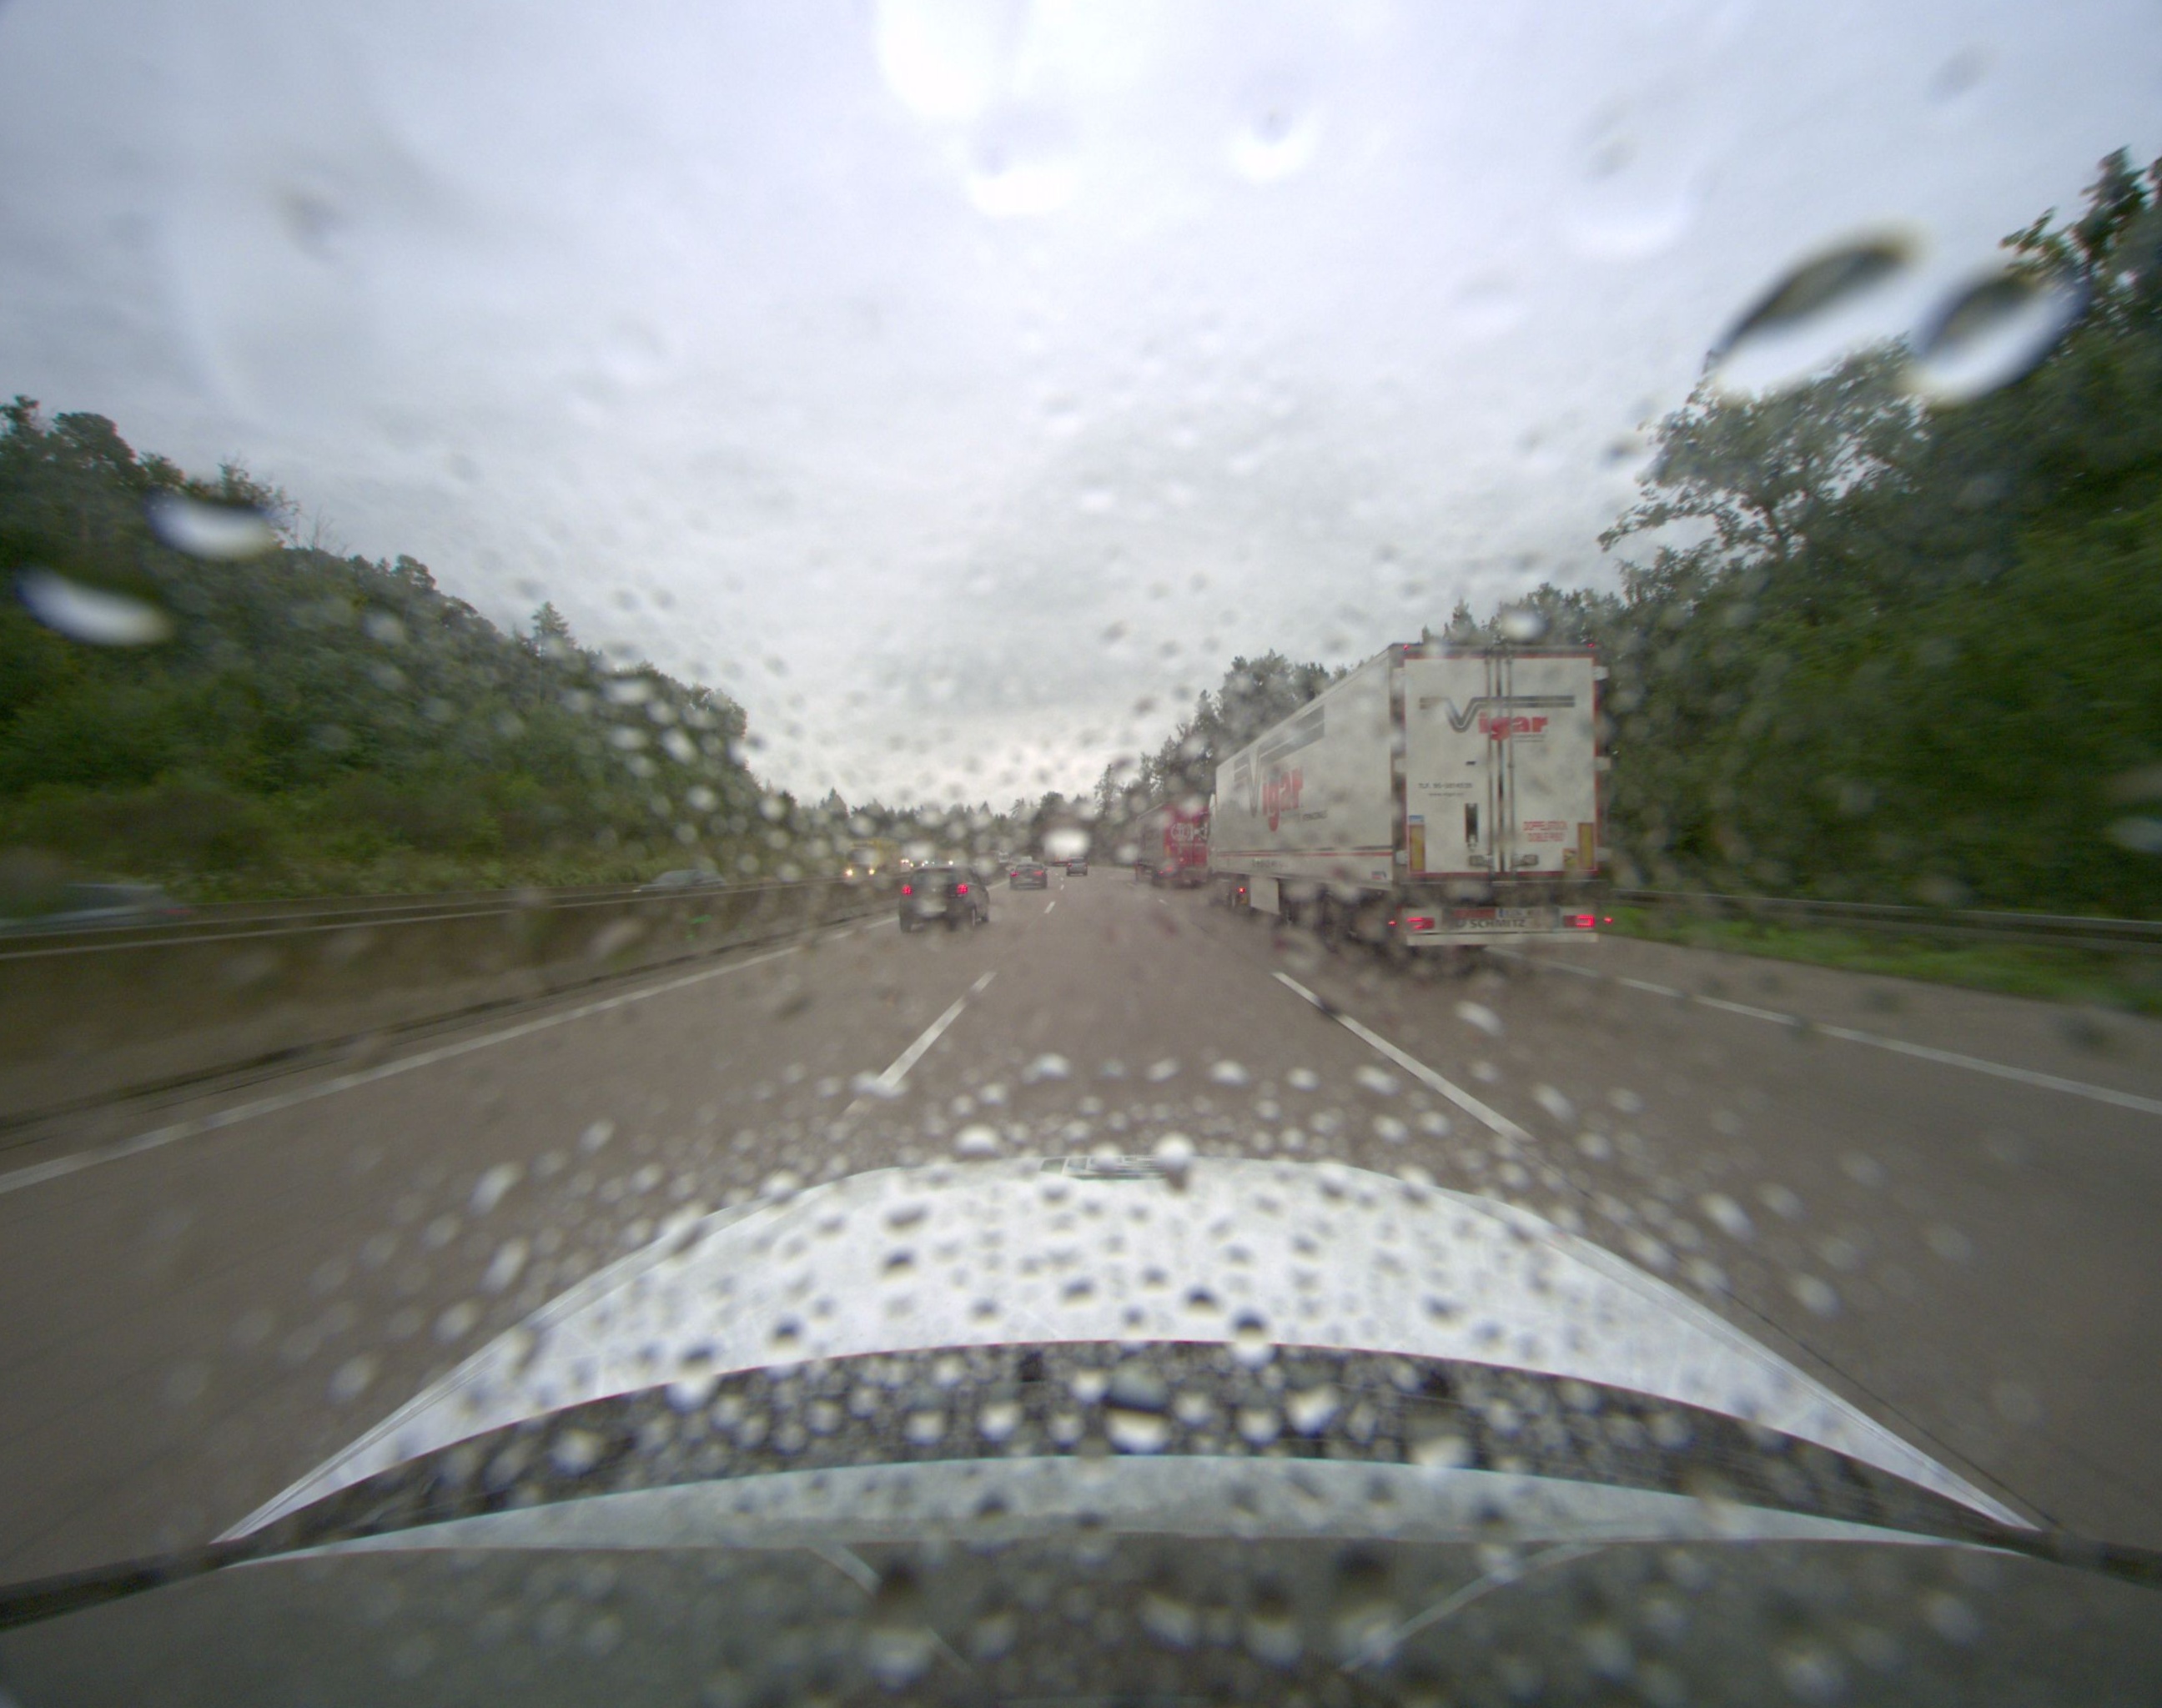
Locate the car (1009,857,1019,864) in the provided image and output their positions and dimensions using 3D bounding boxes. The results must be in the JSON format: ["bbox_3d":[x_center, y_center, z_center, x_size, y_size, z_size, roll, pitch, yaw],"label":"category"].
[{"bbox_3d":[-13.922,1.353,170.003,1.880,1.473,3.989,1,0,-8],"label":"car"}]

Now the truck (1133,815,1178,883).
[{"bbox_3d":[4.562,-0.284,50.872,2.366,3.954,6.161,-1,0,1],"label":"truck"}]

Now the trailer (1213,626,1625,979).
[{"bbox_3d":[5.072,-0.585,16.411,2.725,4.104,13.683,-1,0,1],"label":"trailer"}]

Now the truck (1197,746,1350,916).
[{"bbox_3d":[5.131,-0.554,22.888,2.790,4.104,5.965,-1,0,-1],"label":"truck"}]

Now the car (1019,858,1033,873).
[{"bbox_3d":[-7.704,1.595,113.720,1.724,2.013,3.648,-1,0,-7],"label":"car"}]

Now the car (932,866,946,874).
[{"bbox_3d":[-22.549,2.537,129.778,1.649,1.198,4.540,-1,0,-3],"label":"car"}]

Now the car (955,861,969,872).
[{"bbox_3d":[-17.859,1.868,122.442,1.649,1.479,4.541,-1,0,-2],"label":"car"}]

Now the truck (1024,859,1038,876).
[{"bbox_3d":[-9.287,2.428,150.804,2.267,2.886,7.884,0,1,-7],"label":"truck"}]

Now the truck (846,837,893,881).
[{"bbox_3d":[-20.207,0.479,78.271,3.021,3.875,8.102,-1,0,-5],"label":"truck"}]

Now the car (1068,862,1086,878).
[{"bbox_3d":[-0.323,1.408,71.540,1.549,1.351,3.683,1,0,0],"label":"car"}]

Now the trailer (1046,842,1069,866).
[{"bbox_3d":[-4.243,0.031,146.175,2.420,4.068,12.013,-1,0,-10],"label":"trailer"}]

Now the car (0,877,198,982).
[{"bbox_3d":[-15.204,1.035,10.854,1.795,1.333,4.567,-1,0,2],"label":"car"}]

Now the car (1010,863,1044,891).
[{"bbox_3d":[-2.760,1.146,42.046,1.549,1.351,3.682,1,0,-1],"label":"car"}]

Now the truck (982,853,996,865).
[{"bbox_3d":[-23.902,1.218,210.503,3.084,2.905,7.874,0,1,-11],"label":"truck"}]

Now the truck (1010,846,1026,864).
[{"bbox_3d":[-15.378,0.263,198.127,3.366,4.131,10.411,-1,0,-7],"label":"truck"}]

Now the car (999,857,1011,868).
[{"bbox_3d":[-14.820,1.727,158.415,1.993,2.059,3.987,-1,0,-10],"label":"car"}]

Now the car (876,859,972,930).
[{"bbox_3d":[-3.544,0.865,18.987,1.680,1.462,3.679,1,0,-3],"label":"car"}]

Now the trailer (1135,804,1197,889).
[{"bbox_3d":[4.421,-0.318,44.710,2.362,3.954,12.523,-1,0,1],"label":"trailer"}]

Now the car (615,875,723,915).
[{"bbox_3d":[-15.681,1.523,31.279,1.796,1.333,4.564,-1,0,0],"label":"car"}]

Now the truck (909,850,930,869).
[{"bbox_3d":[-29.007,1.010,146.944,2.617,3.296,9.366,-1,0,-5],"label":"truck"}]

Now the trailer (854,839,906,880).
[{"bbox_3d":[-20.735,0.534,84.932,3.009,3.875,13.678,-1,0,-4],"label":"trailer"}]
